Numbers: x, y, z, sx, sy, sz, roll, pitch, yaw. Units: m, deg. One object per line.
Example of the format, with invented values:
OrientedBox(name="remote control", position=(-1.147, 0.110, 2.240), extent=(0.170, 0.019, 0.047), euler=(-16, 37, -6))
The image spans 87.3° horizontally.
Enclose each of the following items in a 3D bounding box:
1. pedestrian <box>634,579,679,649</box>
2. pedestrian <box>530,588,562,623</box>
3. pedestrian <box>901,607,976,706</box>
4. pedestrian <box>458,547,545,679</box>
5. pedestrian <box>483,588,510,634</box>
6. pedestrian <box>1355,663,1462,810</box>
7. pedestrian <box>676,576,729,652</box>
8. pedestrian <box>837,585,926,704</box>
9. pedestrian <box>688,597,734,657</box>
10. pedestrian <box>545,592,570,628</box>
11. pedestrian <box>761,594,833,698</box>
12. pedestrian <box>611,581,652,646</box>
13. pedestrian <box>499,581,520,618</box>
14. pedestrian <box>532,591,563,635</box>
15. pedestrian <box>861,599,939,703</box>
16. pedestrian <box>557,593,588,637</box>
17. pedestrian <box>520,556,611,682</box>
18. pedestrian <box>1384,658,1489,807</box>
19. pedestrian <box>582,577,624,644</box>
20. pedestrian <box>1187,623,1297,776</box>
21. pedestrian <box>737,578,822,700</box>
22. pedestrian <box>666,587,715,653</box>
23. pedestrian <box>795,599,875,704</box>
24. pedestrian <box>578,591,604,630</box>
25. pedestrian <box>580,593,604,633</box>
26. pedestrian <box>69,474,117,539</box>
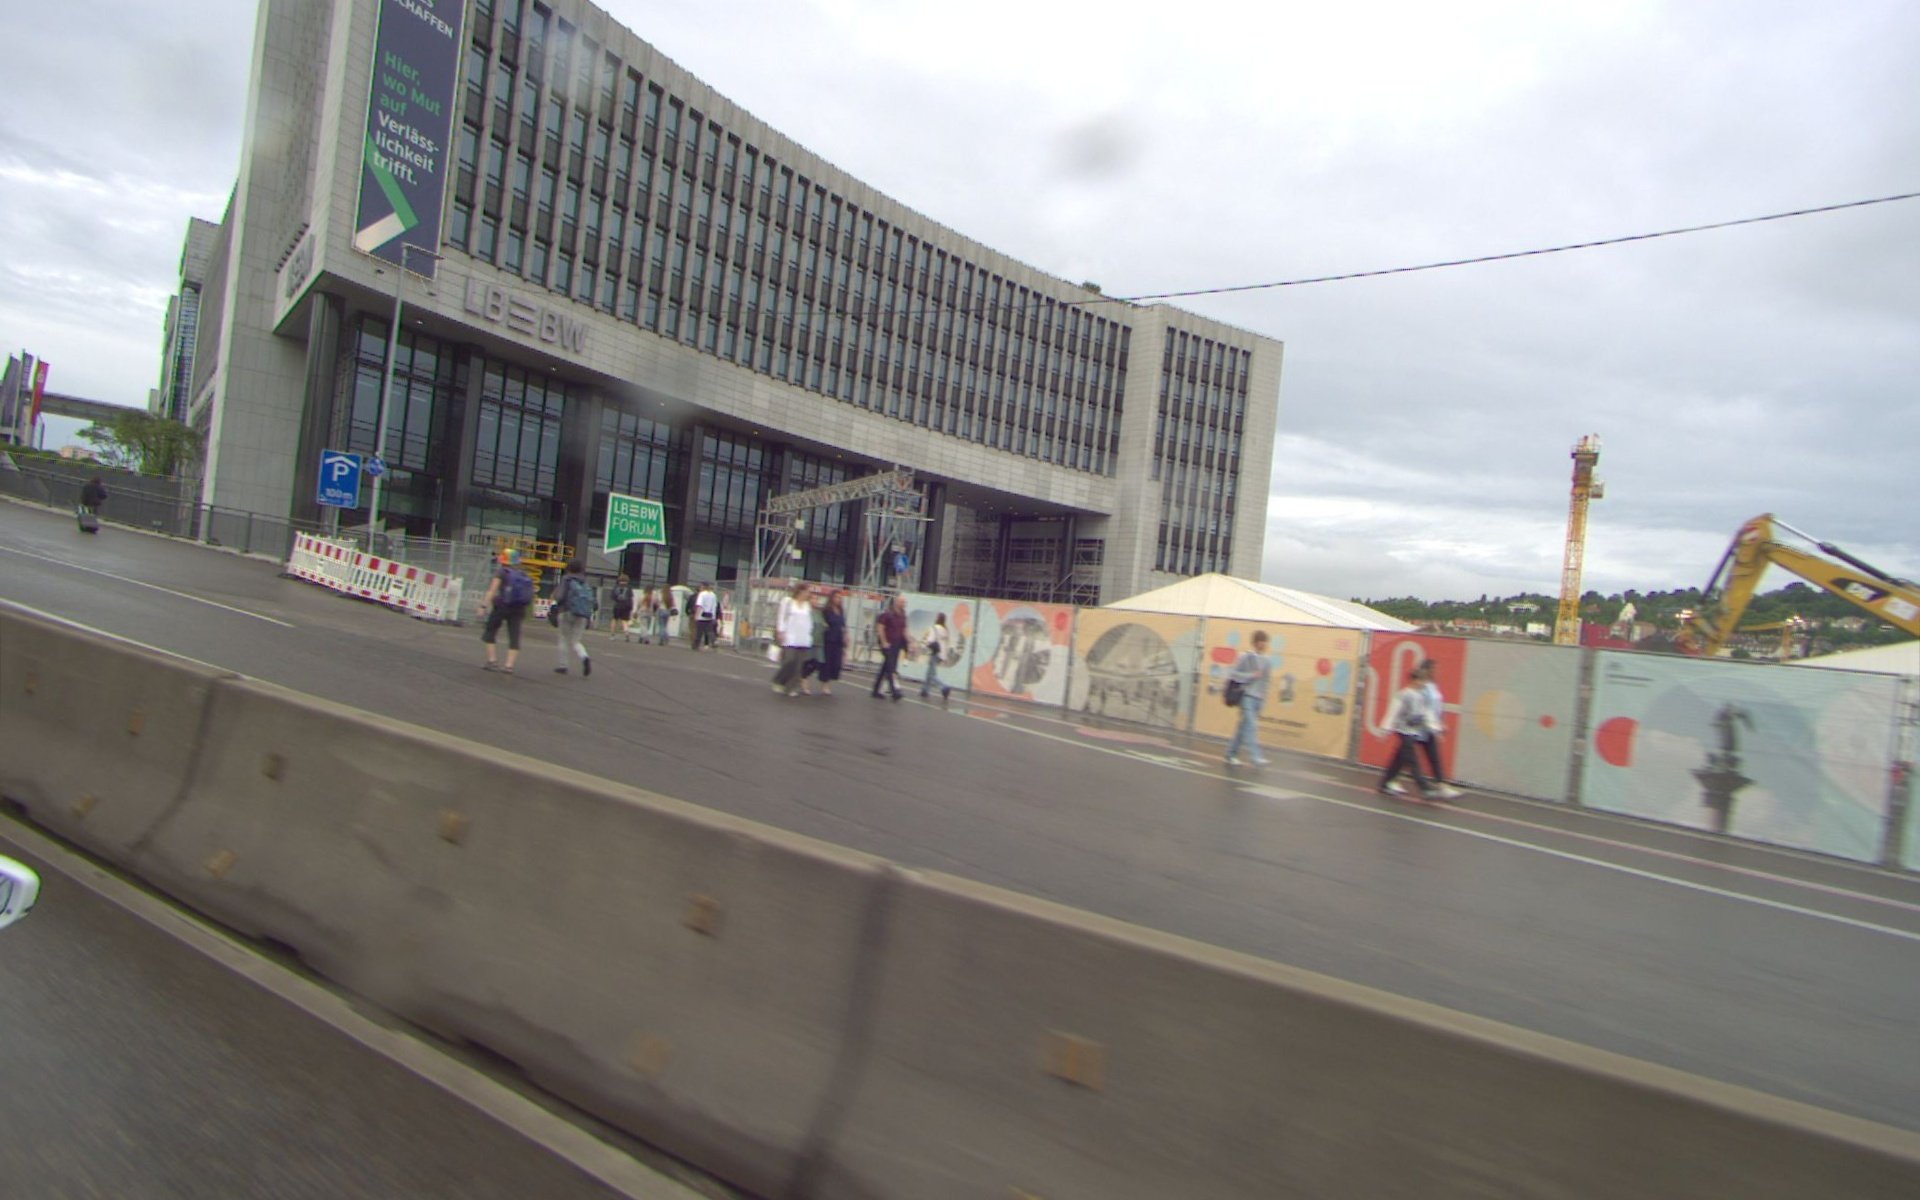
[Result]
OrientedBox(name="pedestrian", position=(-8.384, 0.366, 27.781), extent=(0.765, 1.805, 1.000), euler=(7, 0, -32))
OrientedBox(name="pedestrian", position=(-21.158, 0.292, 51.413), extent=(0.853, 1.657, 1.007), euler=(7, 0, 26))
OrientedBox(name="pedestrian", position=(-0.414, 1.047, 18.934), extent=(0.860, 1.710, 1.000), euler=(7, 0, -32))
OrientedBox(name="pedestrian", position=(-6.002, 0.164, 13.163), extent=(0.727, 1.593, 0.798), euler=(9, -1, -33))
OrientedBox(name="pedestrian", position=(-17.430, 0.410, 37.839), extent=(0.578, 1.657, 0.750), euler=(7, 0, -12))
OrientedBox(name="pedestrian", position=(5.254, 1.589, 11.815), extent=(0.641, 1.572, 0.761), euler=(7, 0, -24))
OrientedBox(name="pedestrian", position=(-6.597, 0.352, 25.746), extent=(0.860, 1.803, 1.000), euler=(7, 0, -32))
OrientedBox(name="pedestrian", position=(-1.320, 0.747, 16.873), extent=(0.863, 1.840, 0.996), euler=(7, 0, -41))
OrientedBox(name="pedestrian", position=(-7.169, 0.765, 28.945), extent=(0.860, 1.572, 1.000), euler=(7, 0, -32))
OrientedBox(name="pedestrian", position=(-19.500, 0.478, 48.754), extent=(0.856, 1.657, 1.005), euler=(7, 0, -16))
OrientedBox(name="pedestrian", position=(-2.600, 0.731, 16.042), extent=(0.606, 1.541, 0.875), euler=(7, 0, -41))
OrientedBox(name="pedestrian", position=(-8.870, 0.360, 27.116), extent=(0.693, 1.657, 0.908), euler=(7, 0, -32))
OrientedBox(name="pedestrian", position=(-20.934, -0.037, 46.705), extent=(0.698, 1.635, 0.562), euler=(7, 0, -28))
OrientedBox(name="pedestrian", position=(-16.755, 0.511, 40.866), extent=(0.860, 1.657, 1.000), euler=(7, 0, -32))
OrientedBox(name="pedestrian", position=(-1.102, 0.923, 18.309), extent=(0.860, 1.746, 1.000), euler=(7, 0, -32))
OrientedBox(name="pedestrian", position=(-15.955, 0.622, 41.388), extent=(0.860, 1.657, 1.000), euler=(7, 0, -32))
OrientedBox(name="pedestrian", position=(-5.474, 0.257, 13.942), extent=(0.855, 1.612, 0.944), euler=(7, 0, -33))
OrientedBox(name="pedestrian", position=(5.807, 1.599, 12.278), extent=(0.641, 1.675, 0.761), euler=(7, 0, -24))
OrientedBox(name="pedestrian", position=(-9.521, 0.277, 26.781), extent=(0.719, 1.657, 0.908), euler=(7, 0, -32))
OrientedBox(name="pedestrian", position=(3.719, 1.301, 13.326), extent=(0.810, 1.871, 0.926), euler=(7, 0, -24))
OrientedBox(name="pedestrian", position=(-2.779, 0.598, 15.485), extent=(0.774, 1.743, 0.881), euler=(7, 0, -41))
OrientedBox(name="pedestrian", position=(-7.303, 0.532, 27.241), extent=(0.860, 1.657, 1.000), euler=(7, 0, -32))
OrientedBox(name="pedestrian", position=(-2.047, 0.832, 16.451), extent=(0.711, 1.572, 0.996), euler=(7, 0, -41))
OrientedBox(name="pedestrian", position=(-16.618, 0.466, 45.310), extent=(0.727, 1.657, 0.653), euler=(7, 0, -2))
OrientedBox(name="pedestrian", position=(-17.766, 0.615, 48.571), extent=(0.742, 1.838, 0.641), euler=(7, 0, -2))
OrientedBox(name="pedestrian", position=(-24.298, -2.615, 28.201), extent=(0.725, 1.672, 1.051), euler=(7, 1, -33))
